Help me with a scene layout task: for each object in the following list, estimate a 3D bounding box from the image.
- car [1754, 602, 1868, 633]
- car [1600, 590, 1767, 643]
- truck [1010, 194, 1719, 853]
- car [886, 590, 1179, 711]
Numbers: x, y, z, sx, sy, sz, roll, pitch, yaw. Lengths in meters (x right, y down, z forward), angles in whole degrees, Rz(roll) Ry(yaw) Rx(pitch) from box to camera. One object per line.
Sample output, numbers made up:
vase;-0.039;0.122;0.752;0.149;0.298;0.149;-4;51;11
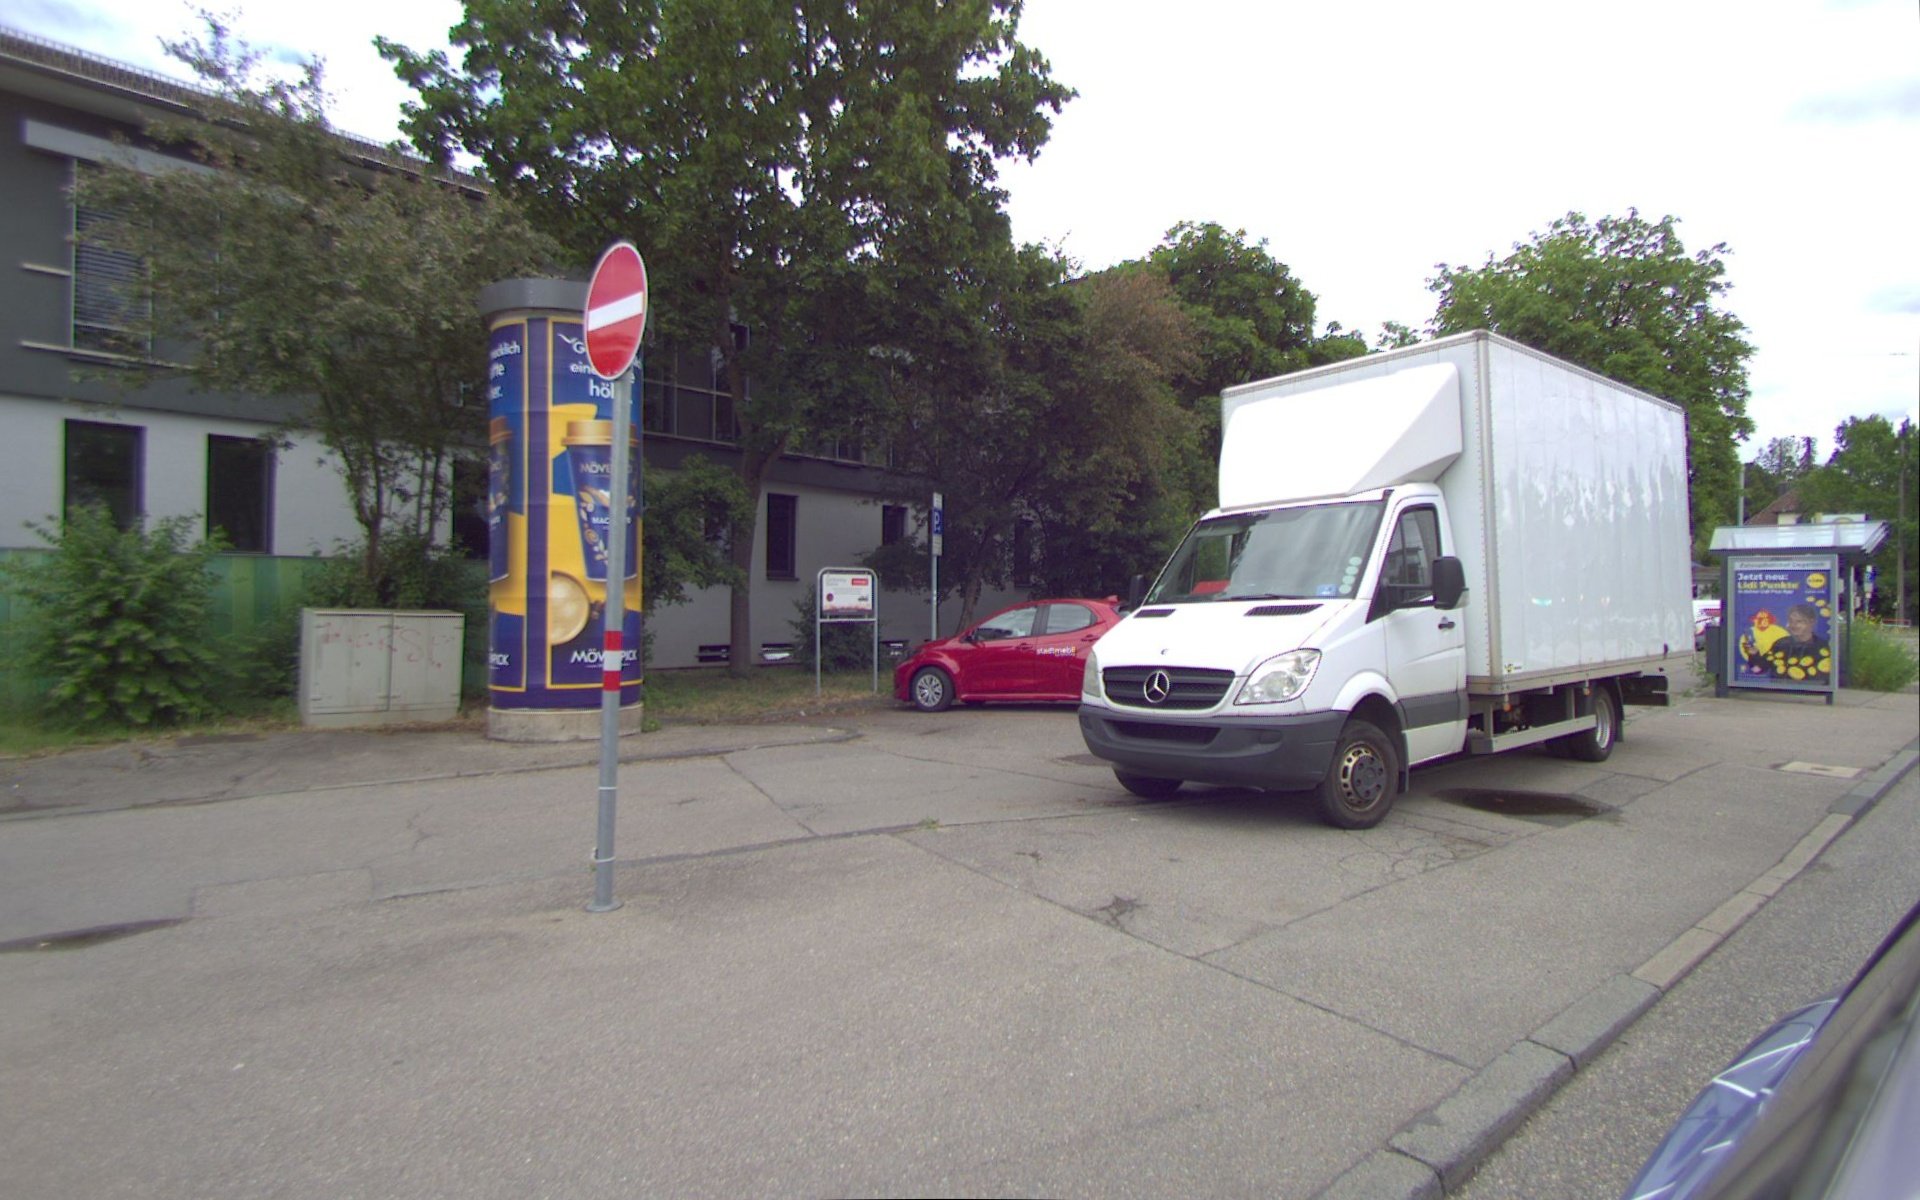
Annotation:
car;45.943;0.899;54.718;4.636;1.556;1.888;1;0;41
car;25.397;0.560;35.607;4.602;1.771;1.853;1;0;-4
truck;4.114;-0.411;8.962;7.672;3.570;2.578;0;0;-40
car;0.987;0.636;13.770;3.686;1.464;1.595;0;-2;23
